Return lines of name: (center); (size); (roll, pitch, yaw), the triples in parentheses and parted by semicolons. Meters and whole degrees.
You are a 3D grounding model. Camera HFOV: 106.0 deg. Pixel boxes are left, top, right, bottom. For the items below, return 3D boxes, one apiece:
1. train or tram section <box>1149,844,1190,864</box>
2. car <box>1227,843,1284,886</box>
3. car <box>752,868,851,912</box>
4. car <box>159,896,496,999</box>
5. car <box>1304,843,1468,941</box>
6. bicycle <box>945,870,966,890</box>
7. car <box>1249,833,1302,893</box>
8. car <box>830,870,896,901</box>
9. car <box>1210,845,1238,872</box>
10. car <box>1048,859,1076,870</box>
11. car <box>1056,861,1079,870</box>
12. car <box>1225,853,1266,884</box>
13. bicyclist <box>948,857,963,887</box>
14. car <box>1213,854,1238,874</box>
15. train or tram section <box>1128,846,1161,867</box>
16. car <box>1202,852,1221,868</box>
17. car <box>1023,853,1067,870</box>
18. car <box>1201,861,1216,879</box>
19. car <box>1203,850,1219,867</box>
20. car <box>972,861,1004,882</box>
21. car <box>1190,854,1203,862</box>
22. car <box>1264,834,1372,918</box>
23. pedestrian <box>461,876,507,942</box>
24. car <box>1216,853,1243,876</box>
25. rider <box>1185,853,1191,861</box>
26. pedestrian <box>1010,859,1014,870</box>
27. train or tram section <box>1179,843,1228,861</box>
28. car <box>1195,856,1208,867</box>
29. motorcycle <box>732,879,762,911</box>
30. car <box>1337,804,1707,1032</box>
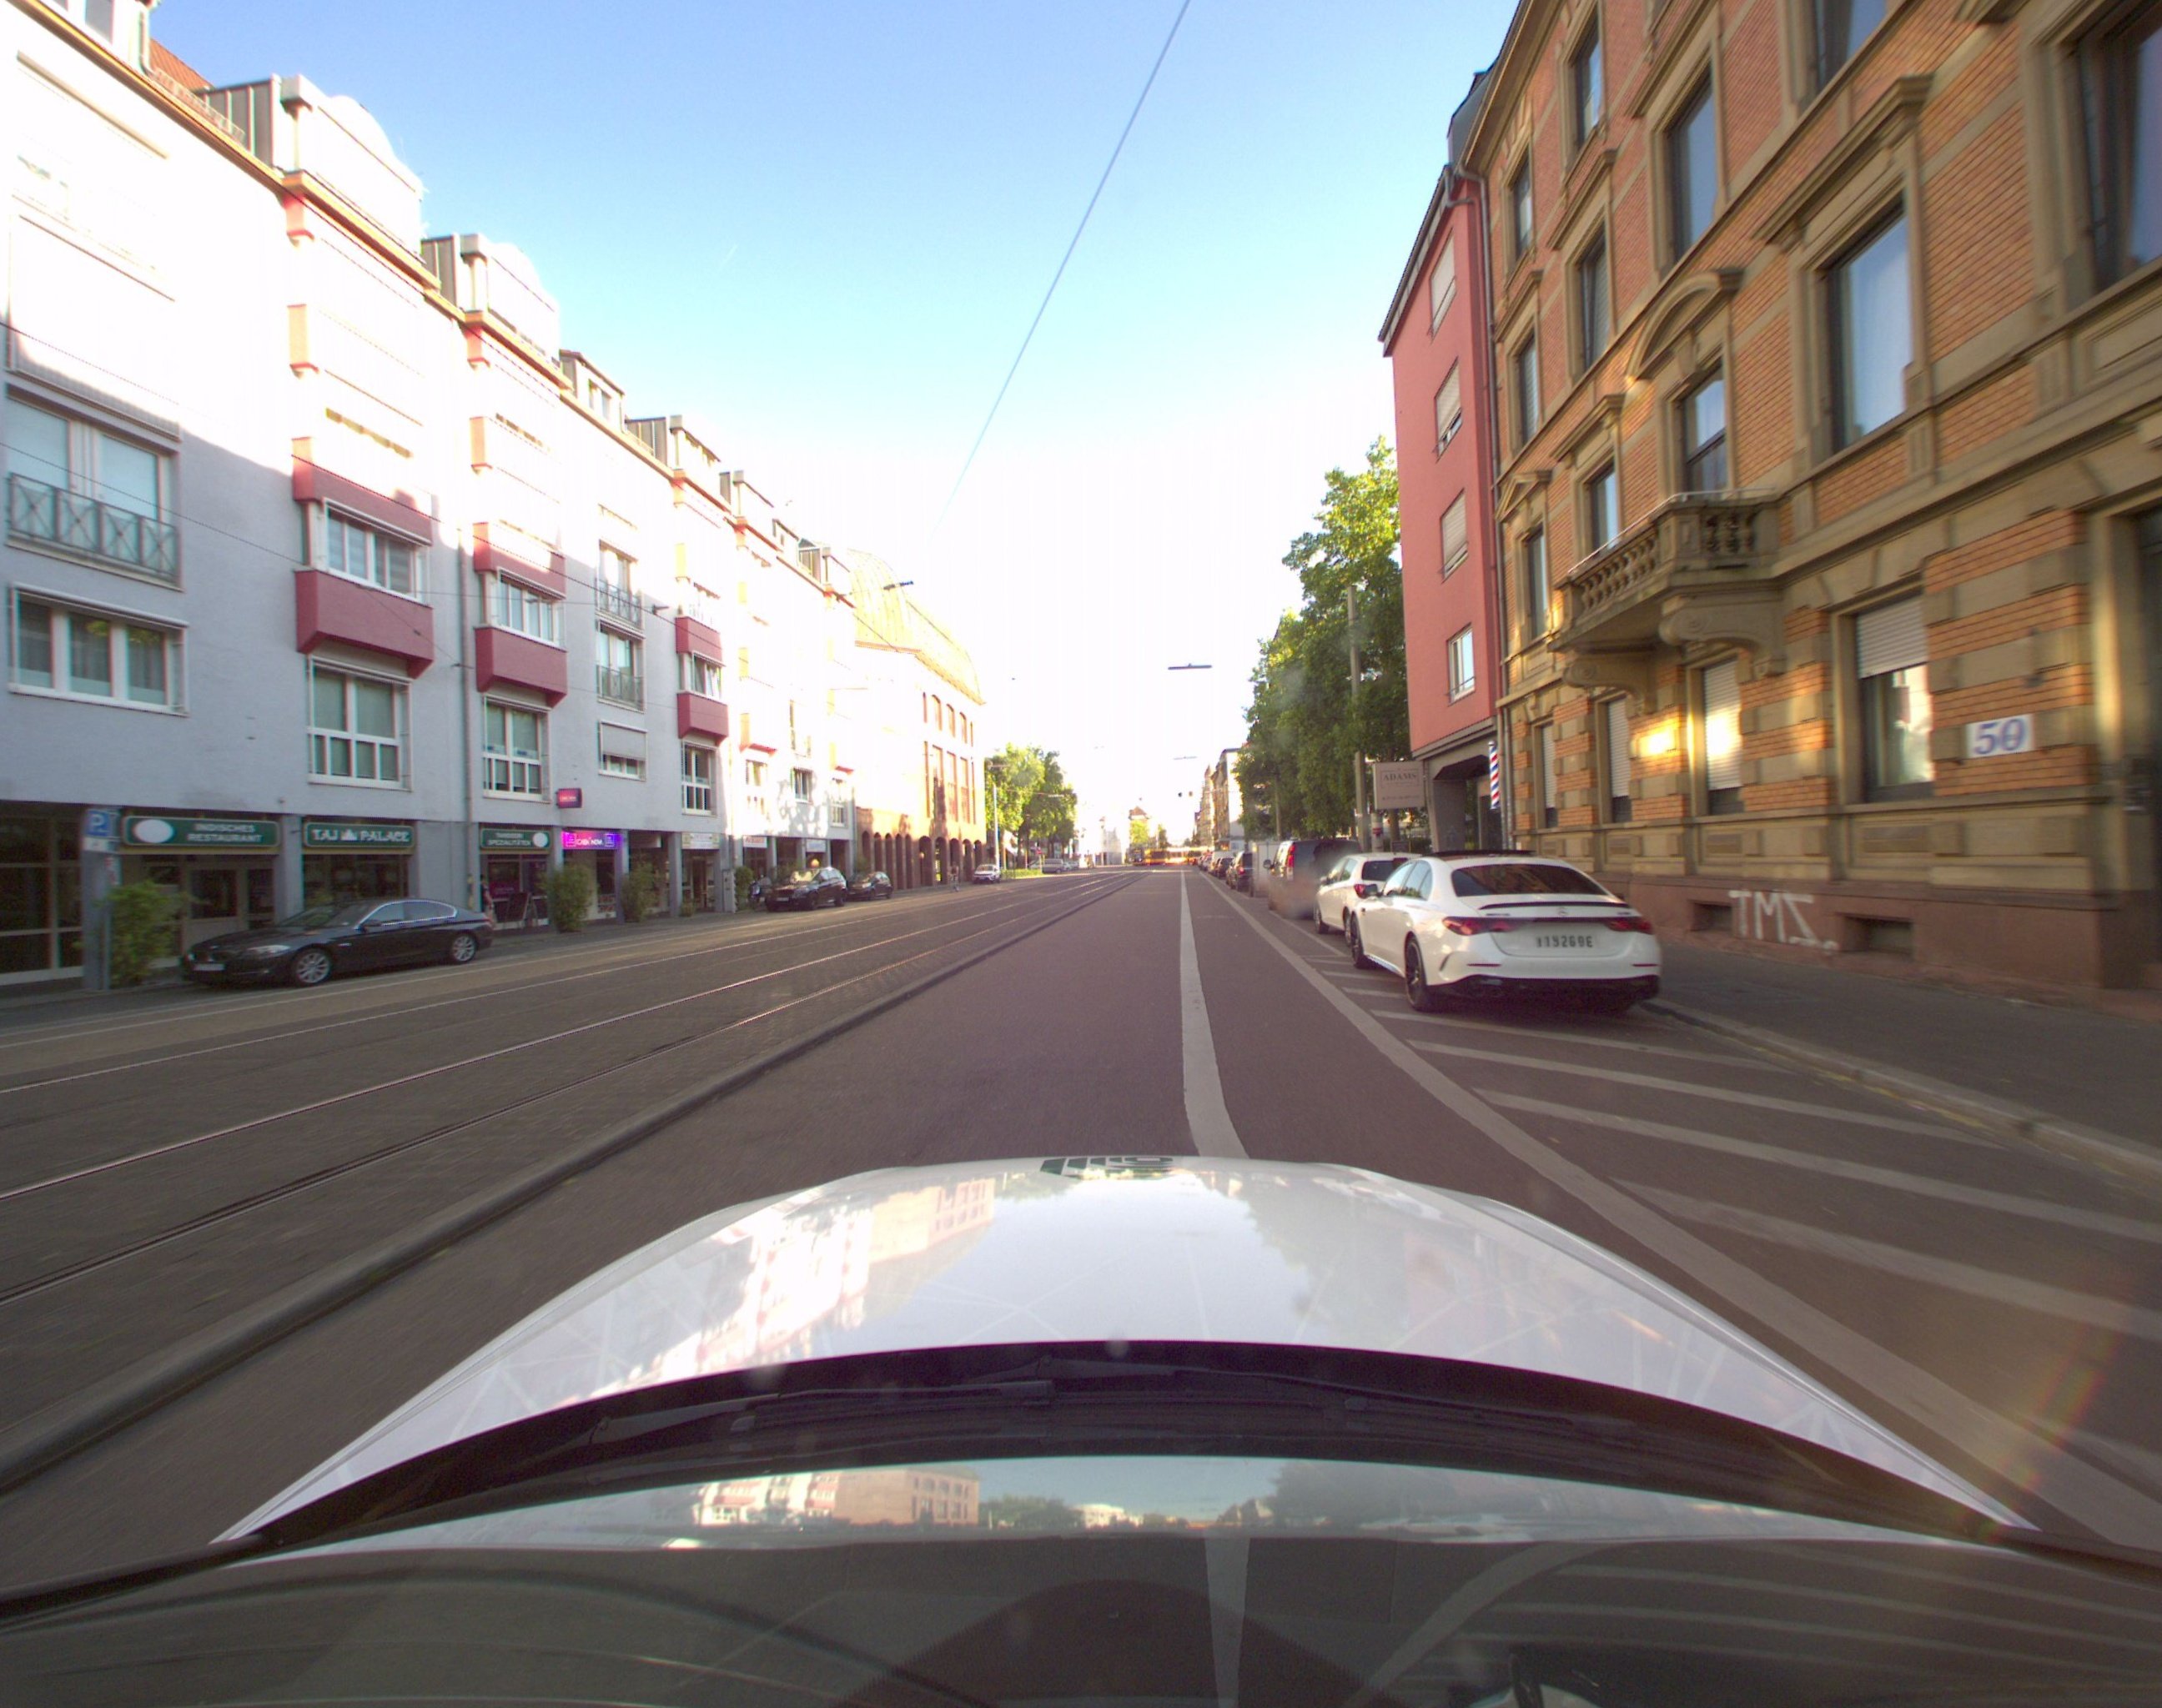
train or tram section: (18.503, 0.035, 169.833); (2.666, 3.878, 12.925); (0, 0, 35)
car: (7.746, 0.442, 36.620); (1.940, 1.788, 5.190); (0, 0, 6)
car: (-11.688, 1.451, 34.454); (2.080, 1.713, 4.827); (0, -1, 6)
car: (-14.008, 1.648, 15.647); (1.861, 1.439, 4.713); (-1, 0, 4)
car: (5.201, 0.591, 14.438); (1.722, 1.496, 3.967); (0, 0, 5)
bicycle: (-7.480, 1.554, 48.711); (0.579, 1.077, 2.190); (-4, -1, 7)
car: (7.415, 0.351, 31.308); (1.695, 2.120, 3.716); (-1, -1, 10)
car: (-11.056, 1.566, 41.569); (1.858, 1.450, 3.593); (-1, -1, 10)
car: (11.582, 0.333, 66.162); (1.960, 2.014, 4.568); (-3, -1, 8)
car: (-2.969, 1.655, 125.620); (3.886, 1.627, 1.861); (0, 0, -24)
car: (-2.214, 1.893, 135.834); (3.537, 1.481, 1.569); (0, 0, -25)
car: (8.628, 0.734, 42.924); (1.707, 1.427, 4.684); (-1, 1, 7)
bicyclist: (-7.510, 1.075, 48.785); (0.568, 1.712, 0.747); (-4, -1, 7)
car: (10.675, 0.720, 60.386); (1.612, 1.474, 3.979); (-1, 0, 7)
train or tram section: (12.549, 0.560, 159.075); (2.668, 3.960, 12.155); (0, 0, 23)
car: (13.533, 0.641, 84.596); (1.714, 1.568, 4.090); (-3, 0, 7)
car: (-4.677, 1.004, 106.381); (5.278, 2.043, 2.398); (1, -2, -25)
car: (14.876, 1.807, 95.253); (1.612, 2.006, 3.838); (0, 0, 7)
car: (14.452, 0.525, 90.901); (1.612, 1.813, 4.090); (0, 0, 7)
car: (-7.762, 1.456, 68.437); (1.861, 1.600, 4.259); (-1, 0, 4)
car: (20.446, 0.698, 144.152); (2.055, 1.389, 4.233); (1, 0, 7)
car: (5.841, 0.497, 20.634); (1.944, 1.869, 5.000); (0, 0, 8)
pedestrian: (-16.048, 1.460, 21.914); (0.611, 1.712, 0.746); (-2, 0, 5)
car: (10.002, 0.683, 55.035); (1.612, 1.431, 3.993); (-1, 0, 7)
rider: (19.386, 0.522, 147.249); (0.877, 1.481, 0.716); (0, 0, 16)
pedestrian: (-8.738, 1.348, 103.359); (0.363, 1.343, 0.481); (1, 0, -13)
train or tram section: (26.720, -0.341, 177.402); (11.312, 3.752, 2.677); (1, 0, -27)
car: (17.365, 1.104, 117.510); (1.612, 1.555, 4.090); (0, 0, 7)
motorcycle: (-13.437, 1.624, 32.840); (0.669, 1.205, 2.133); (0, -1, -10)
car: (4.227, 0.511, 8.875); (1.955, 1.771, 4.886); (-1, 0, 8)
